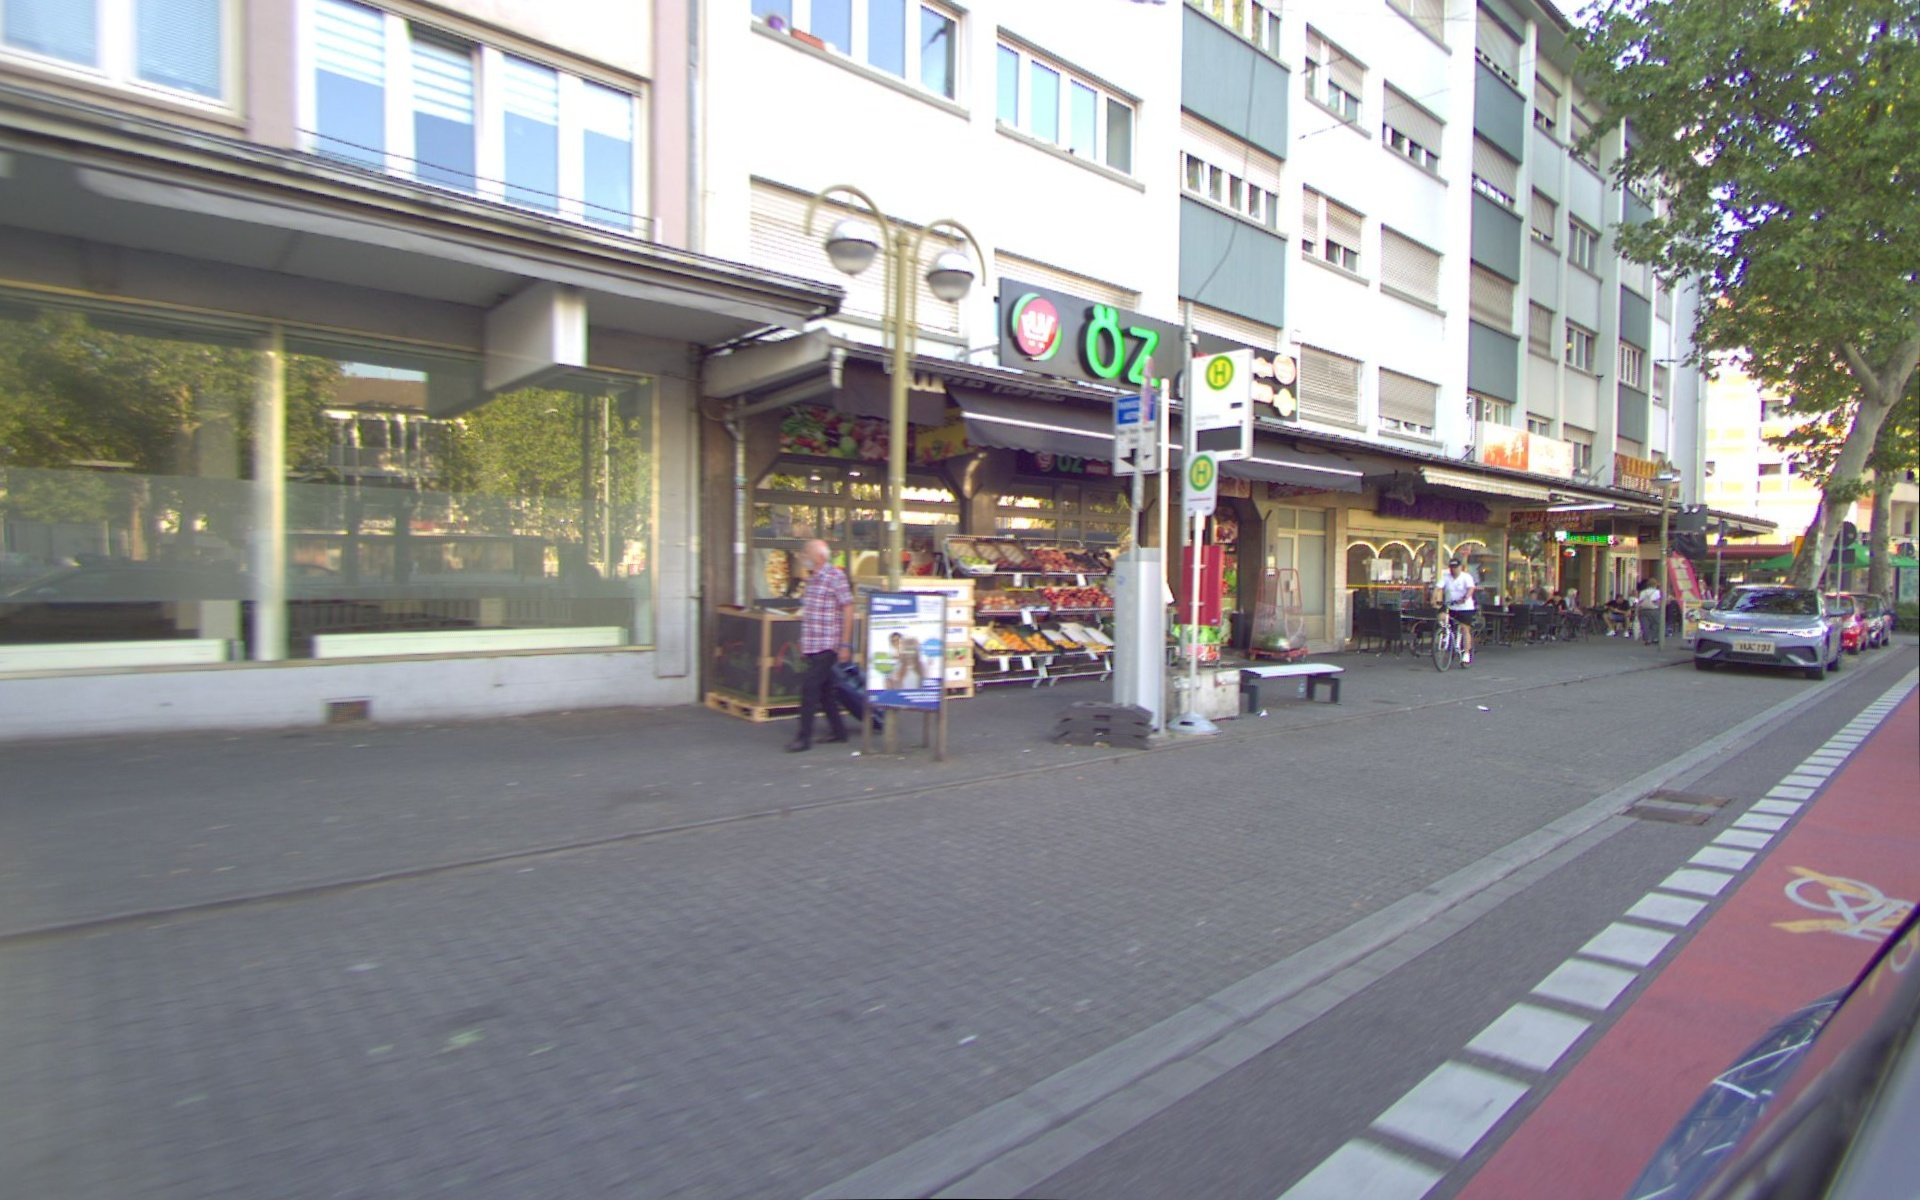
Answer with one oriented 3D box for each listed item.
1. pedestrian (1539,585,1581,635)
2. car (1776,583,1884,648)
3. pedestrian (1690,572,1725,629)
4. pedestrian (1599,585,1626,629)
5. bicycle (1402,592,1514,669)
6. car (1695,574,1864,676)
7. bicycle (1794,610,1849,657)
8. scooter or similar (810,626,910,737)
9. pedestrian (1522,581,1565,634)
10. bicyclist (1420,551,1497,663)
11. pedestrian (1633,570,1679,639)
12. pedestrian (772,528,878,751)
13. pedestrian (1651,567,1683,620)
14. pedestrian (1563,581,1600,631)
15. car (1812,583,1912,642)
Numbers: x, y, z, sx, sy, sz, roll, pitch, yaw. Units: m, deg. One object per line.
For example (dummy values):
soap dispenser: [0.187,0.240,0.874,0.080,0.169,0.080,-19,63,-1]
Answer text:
pedestrian: [14.874,0.245,25.082,0.698,1.191,0.677,0,2,-42]
car: [22.156,0.338,25.726,3.919,1.460,1.731,-1,3,-45]
pedestrian: [21.164,0.000,28.657,0.631,1.579,0.584,0,3,-40]
pedestrian: [17.815,0.187,27.647,0.514,1.148,0.504,2,2,27]
bicycle: [8.122,0.456,16.452,2.227,1.117,0.778,0,4,-41]
car: [15.490,0.376,19.034,4.713,1.617,1.919,-1,3,-45]
bicycle: [18.626,0.702,21.872,2.005,0.895,0.625,-1,4,-43]
scooter or similar: [-0.847,0.673,8.686,0.571,0.854,0.727,1,1,25]
pedestrian: [14.120,0.179,24.496,0.697,1.243,0.677,0,2,-39]
bicyclist: [8.064,0.095,16.372,0.815,1.730,0.771,0,4,-41]
pedestrian: [16.717,0.107,24.311,0.666,1.605,0.709,0,3,-43]
pedestrian: [-1.070,0.291,8.066,0.642,1.694,0.550,1,1,29]
pedestrian: [23.220,-0.230,33.256,0.666,1.730,0.709,0,1,-42]
pedestrian: [16.228,0.150,26.417,0.596,1.281,0.645,0,2,-42]
car: [25.459,0.309,28.521,3.736,1.497,1.658,0,3,-42]
